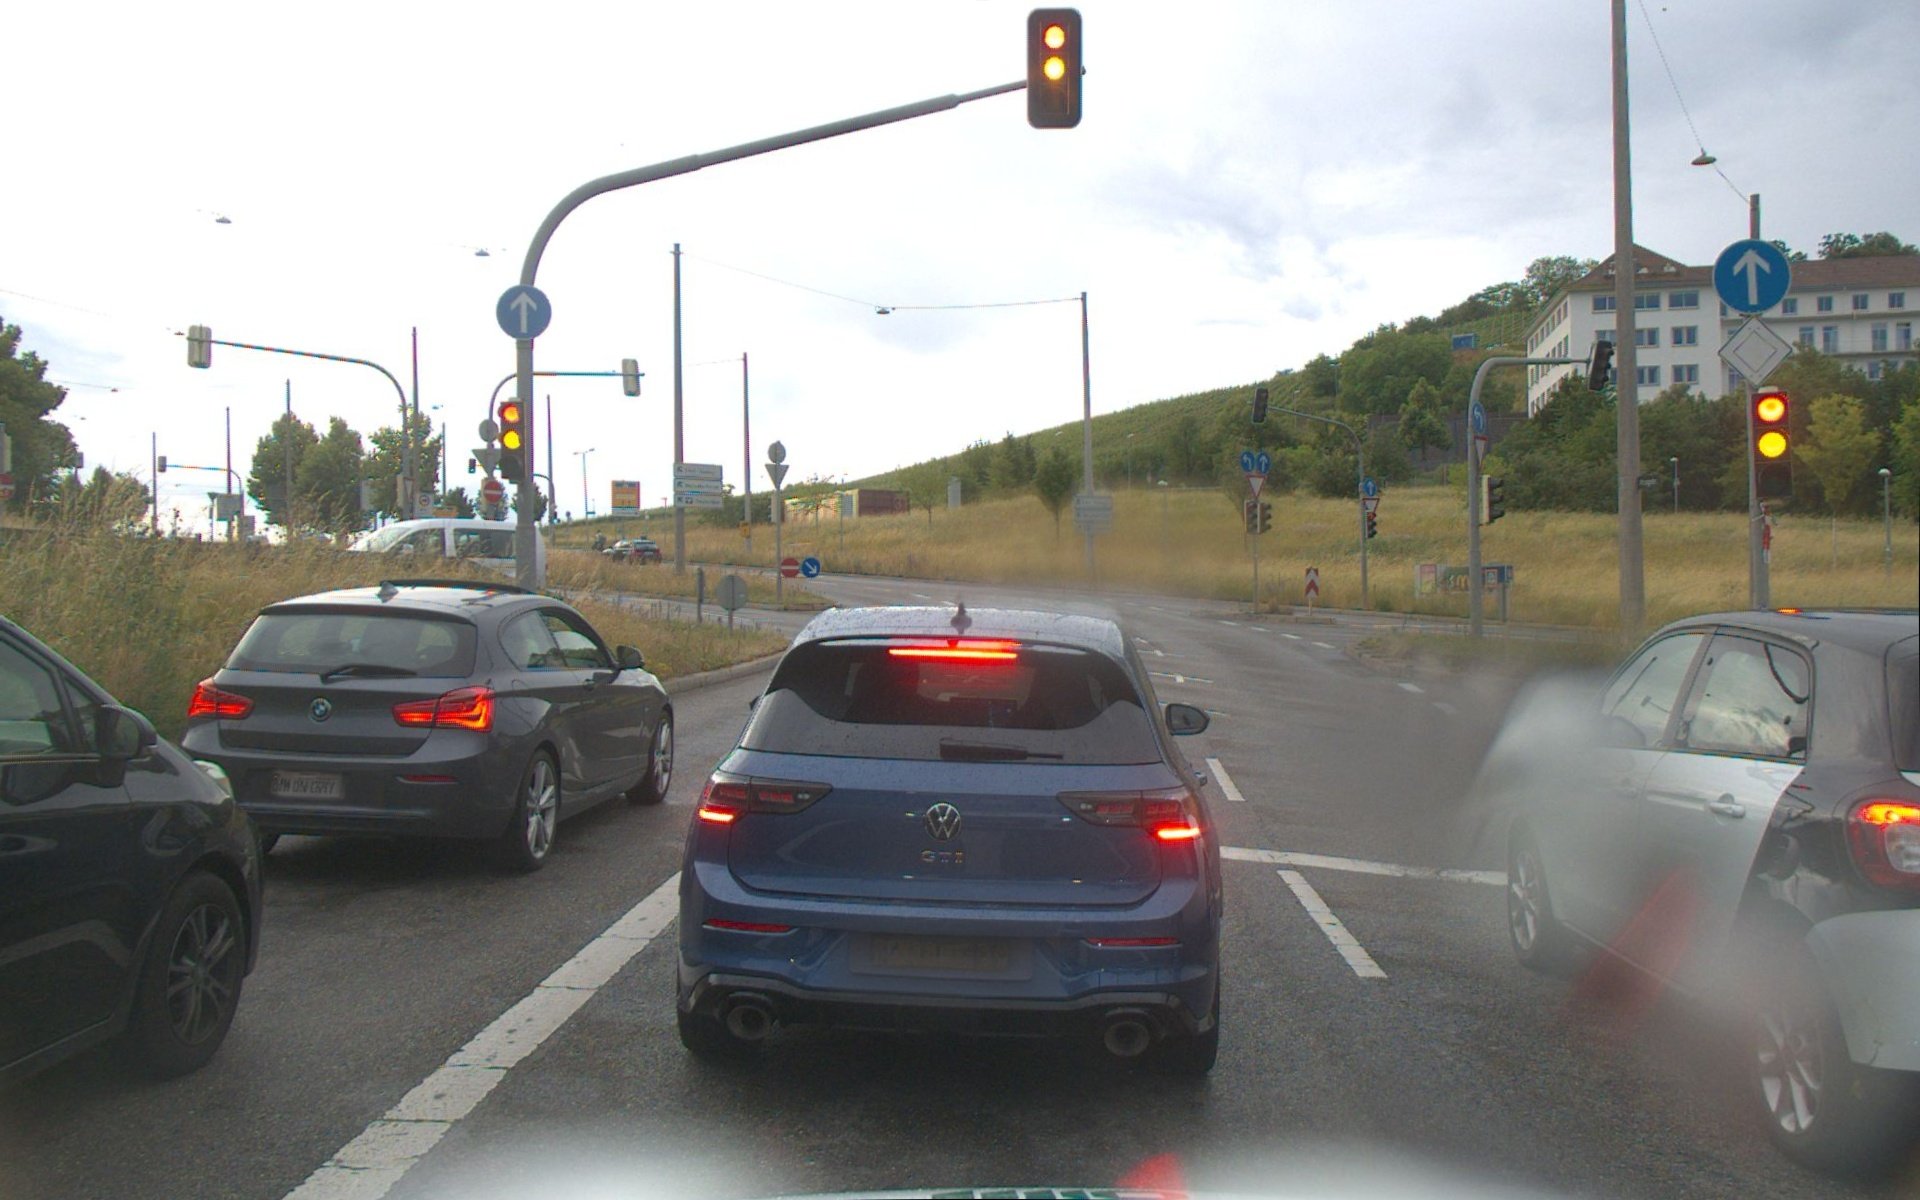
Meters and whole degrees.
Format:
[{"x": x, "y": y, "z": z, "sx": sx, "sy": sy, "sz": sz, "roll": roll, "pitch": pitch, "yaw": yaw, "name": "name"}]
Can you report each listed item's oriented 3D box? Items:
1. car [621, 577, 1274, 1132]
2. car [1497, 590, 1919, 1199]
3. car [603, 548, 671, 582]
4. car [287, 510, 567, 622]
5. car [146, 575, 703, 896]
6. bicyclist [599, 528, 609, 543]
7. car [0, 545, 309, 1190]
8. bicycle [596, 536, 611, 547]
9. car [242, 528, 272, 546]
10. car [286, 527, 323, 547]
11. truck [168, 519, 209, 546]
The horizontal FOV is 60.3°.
[{"x": 0.104, "y": 0.683, "z": 6.443, "sx": 1.786, "sy": 1.486, "sz": 3.810, "roll": 1, "pitch": 0, "yaw": 4, "name": "car"}, {"x": 3.156, "y": 0.773, "z": 5.722, "sx": 1.623, "sy": 1.529, "sz": 3.452, "roll": 1, "pitch": -1, "yaw": 3, "name": "car"}, {"x": -16.676, "y": -1.818, "z": 85.295, "sx": 1.973, "sy": 1.646, "sz": 4.803, "roll": 2, "pitch": 1, "yaw": -30, "name": "car"}, {"x": -9.847, "y": -0.572, "z": 30.830, "sx": 4.663, "sy": 1.882, "sz": 1.792, "roll": 2, "pitch": -1, "yaw": -45, "name": "car"}, {"x": -2.828, "y": 0.607, "z": 9.764, "sx": 1.667, "sy": 1.485, "sz": 4.117, "roll": 0, "pitch": 0, "yaw": 5, "name": "car"}, {"x": -26.333, "y": -4.793, "z": 122.310, "sx": 0.519, "sy": 1.065, "sz": 0.573, "roll": 4, "pitch": 0, "yaw": -35, "name": "bicyclist"}, {"x": -3.067, "y": 0.610, "z": 3.669, "sx": 1.608, "sy": 1.530, "sz": 3.779, "roll": 2, "pitch": 1, "yaw": 2, "name": "car"}, {"x": -26.369, "y": -4.313, "z": 122.278, "sx": 0.513, "sy": 0.788, "sz": 1.602, "roll": 2, "pitch": 1, "yaw": -33, "name": "bicycle"}, {"x": -74.791, "y": -6.685, "z": 175.967, "sx": 2.110, "sy": 1.825, "sz": 4.686, "roll": 3, "pitch": 0, "yaw": -34, "name": "car"}, {"x": -57.312, "y": -5.478, "z": 144.628, "sx": 1.978, "sy": 1.503, "sz": 4.446, "roll": 1, "pitch": -1, "yaw": -36, "name": "car"}, {"x": -96.789, "y": -8.438, "z": 207.409, "sx": 3.235, "sy": 3.128, "sz": 6.093, "roll": 4, "pitch": 0, "yaw": -38, "name": "truck"}]
